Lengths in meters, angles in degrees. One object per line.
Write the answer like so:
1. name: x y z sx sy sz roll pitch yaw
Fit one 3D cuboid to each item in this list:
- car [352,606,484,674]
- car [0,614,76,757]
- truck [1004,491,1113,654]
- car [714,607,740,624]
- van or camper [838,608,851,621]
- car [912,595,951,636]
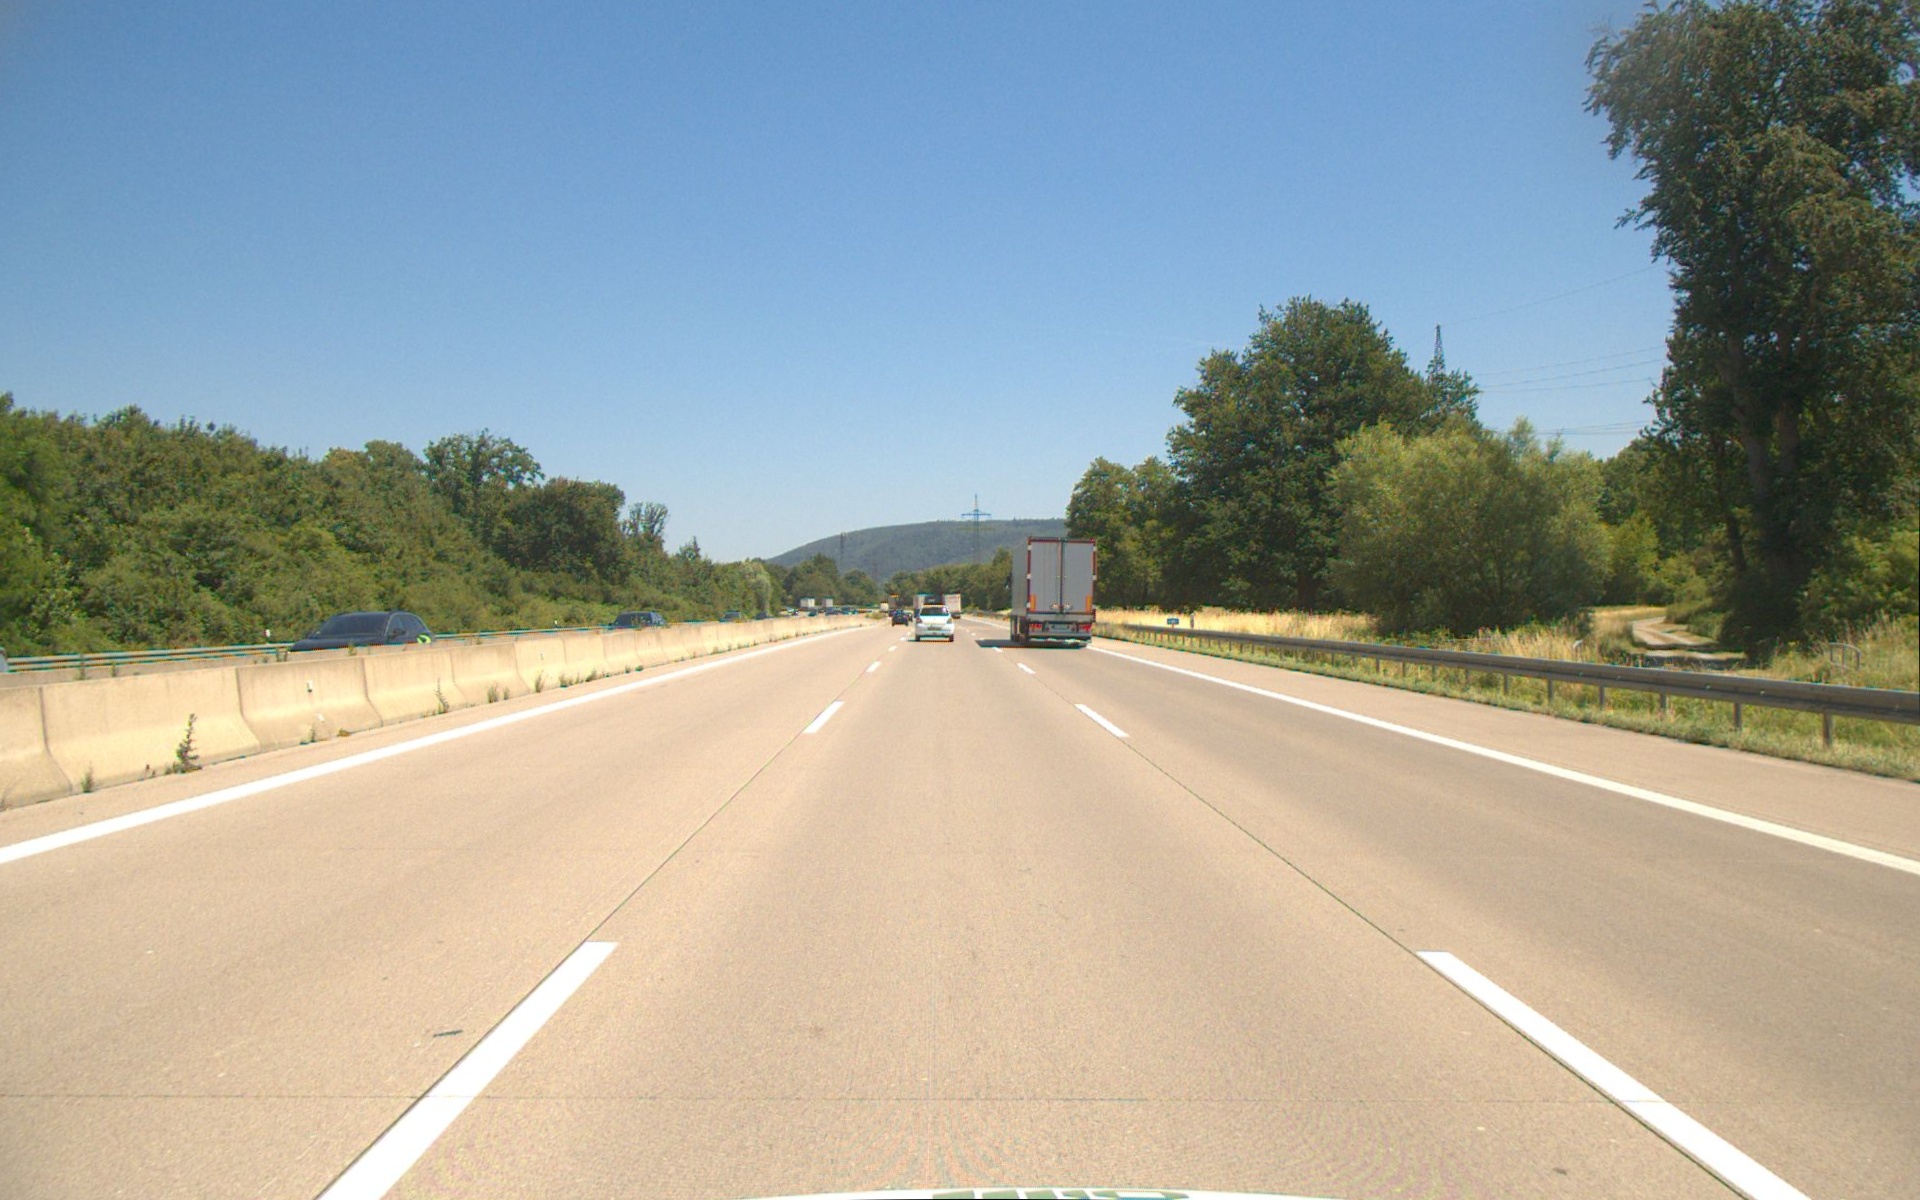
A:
1. car: -12.128 0.851 37.261 1.664 1.441 4.015 0 0 -1
2. car: -12.453 1.063 19.316 1.674 1.707 4.927 -1 0 -1
3. truck: 3.793 -1.015 68.671 3.504 5.888 18.247 0 0 0
4. car: -18.835 1.214 133.806 1.643 1.338 4.858 0 0 -2
5. van or camper: -17.684 2.183 253.587 1.810 1.915 4.415 0 0 -2
6. car: -1.216 0.636 70.738 1.608 1.691 3.359 1 0 -1
